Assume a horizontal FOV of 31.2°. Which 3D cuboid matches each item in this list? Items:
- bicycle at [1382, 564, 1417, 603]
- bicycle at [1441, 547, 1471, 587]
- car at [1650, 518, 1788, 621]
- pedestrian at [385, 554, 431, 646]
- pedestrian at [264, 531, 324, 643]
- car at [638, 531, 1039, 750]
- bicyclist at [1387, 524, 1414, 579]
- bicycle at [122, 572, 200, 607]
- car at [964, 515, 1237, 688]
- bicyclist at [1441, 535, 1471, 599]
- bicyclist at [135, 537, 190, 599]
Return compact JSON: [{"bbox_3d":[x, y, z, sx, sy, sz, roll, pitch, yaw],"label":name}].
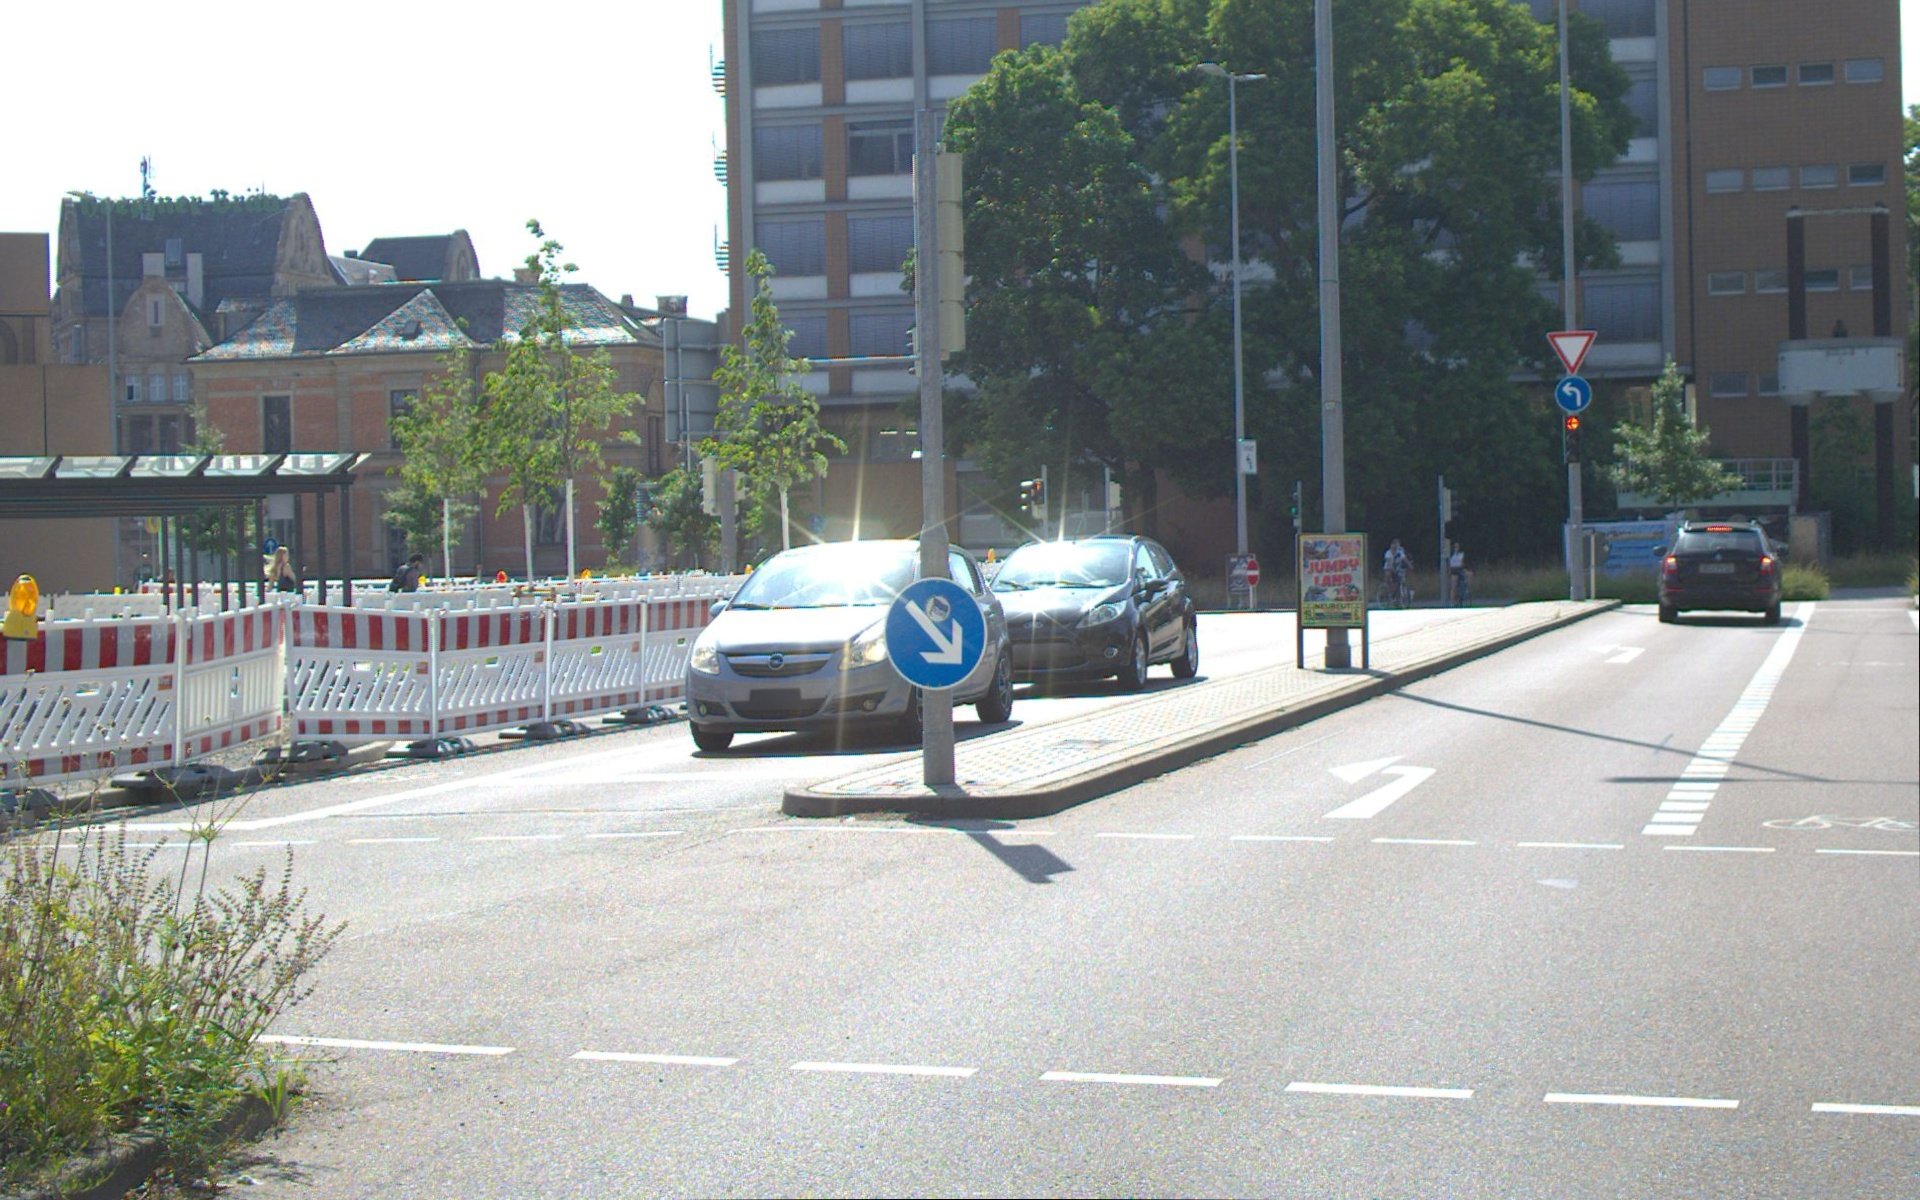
[{"bbox_3d":[11.568,-0.437,90.469,0.704,0.974,2.030,-2,1,13],"label":"bicycle"},{"bbox_3d":[12.708,-0.848,88.064,0.619,0.957,1.967,-4,0,10],"label":"bicycle"},{"bbox_3d":[11.175,-0.484,50.478,1.781,1.438,3.815,1,1,15],"label":"car"},{"bbox_3d":[-9.113,-0.006,56.746,0.630,1.486,0.617,-2,1,-1],"label":"pedestrian"},{"bbox_3d":[-10.677,-0.193,55.136,0.736,1.746,1.111,-2,-1,-1],"label":"pedestrian"},{"bbox_3d":[-0.802,0.245,25.435,1.795,1.407,3.997,-3,1,15],"label":"car"},{"bbox_3d":[11.582,-1.266,90.335,0.539,1.412,1.029,-2,0,13],"label":"bicyclist"},{"bbox_3d":[-19.172,-0.253,82.517,1.893,0.790,0.559,-1,2,28],"label":"bicycle"},{"bbox_3d":[1.382,-0.030,32.349,1.667,1.446,3.815,-3,1,16],"label":"car"},{"bbox_3d":[12.709,-0.848,88.064,0.619,1.576,1.013,-4,0,10],"label":"bicyclist"},{"bbox_3d":[-19.143,-0.770,82.494,1.167,1.469,0.563,-1,1,27],"label":"bicyclist"}]
